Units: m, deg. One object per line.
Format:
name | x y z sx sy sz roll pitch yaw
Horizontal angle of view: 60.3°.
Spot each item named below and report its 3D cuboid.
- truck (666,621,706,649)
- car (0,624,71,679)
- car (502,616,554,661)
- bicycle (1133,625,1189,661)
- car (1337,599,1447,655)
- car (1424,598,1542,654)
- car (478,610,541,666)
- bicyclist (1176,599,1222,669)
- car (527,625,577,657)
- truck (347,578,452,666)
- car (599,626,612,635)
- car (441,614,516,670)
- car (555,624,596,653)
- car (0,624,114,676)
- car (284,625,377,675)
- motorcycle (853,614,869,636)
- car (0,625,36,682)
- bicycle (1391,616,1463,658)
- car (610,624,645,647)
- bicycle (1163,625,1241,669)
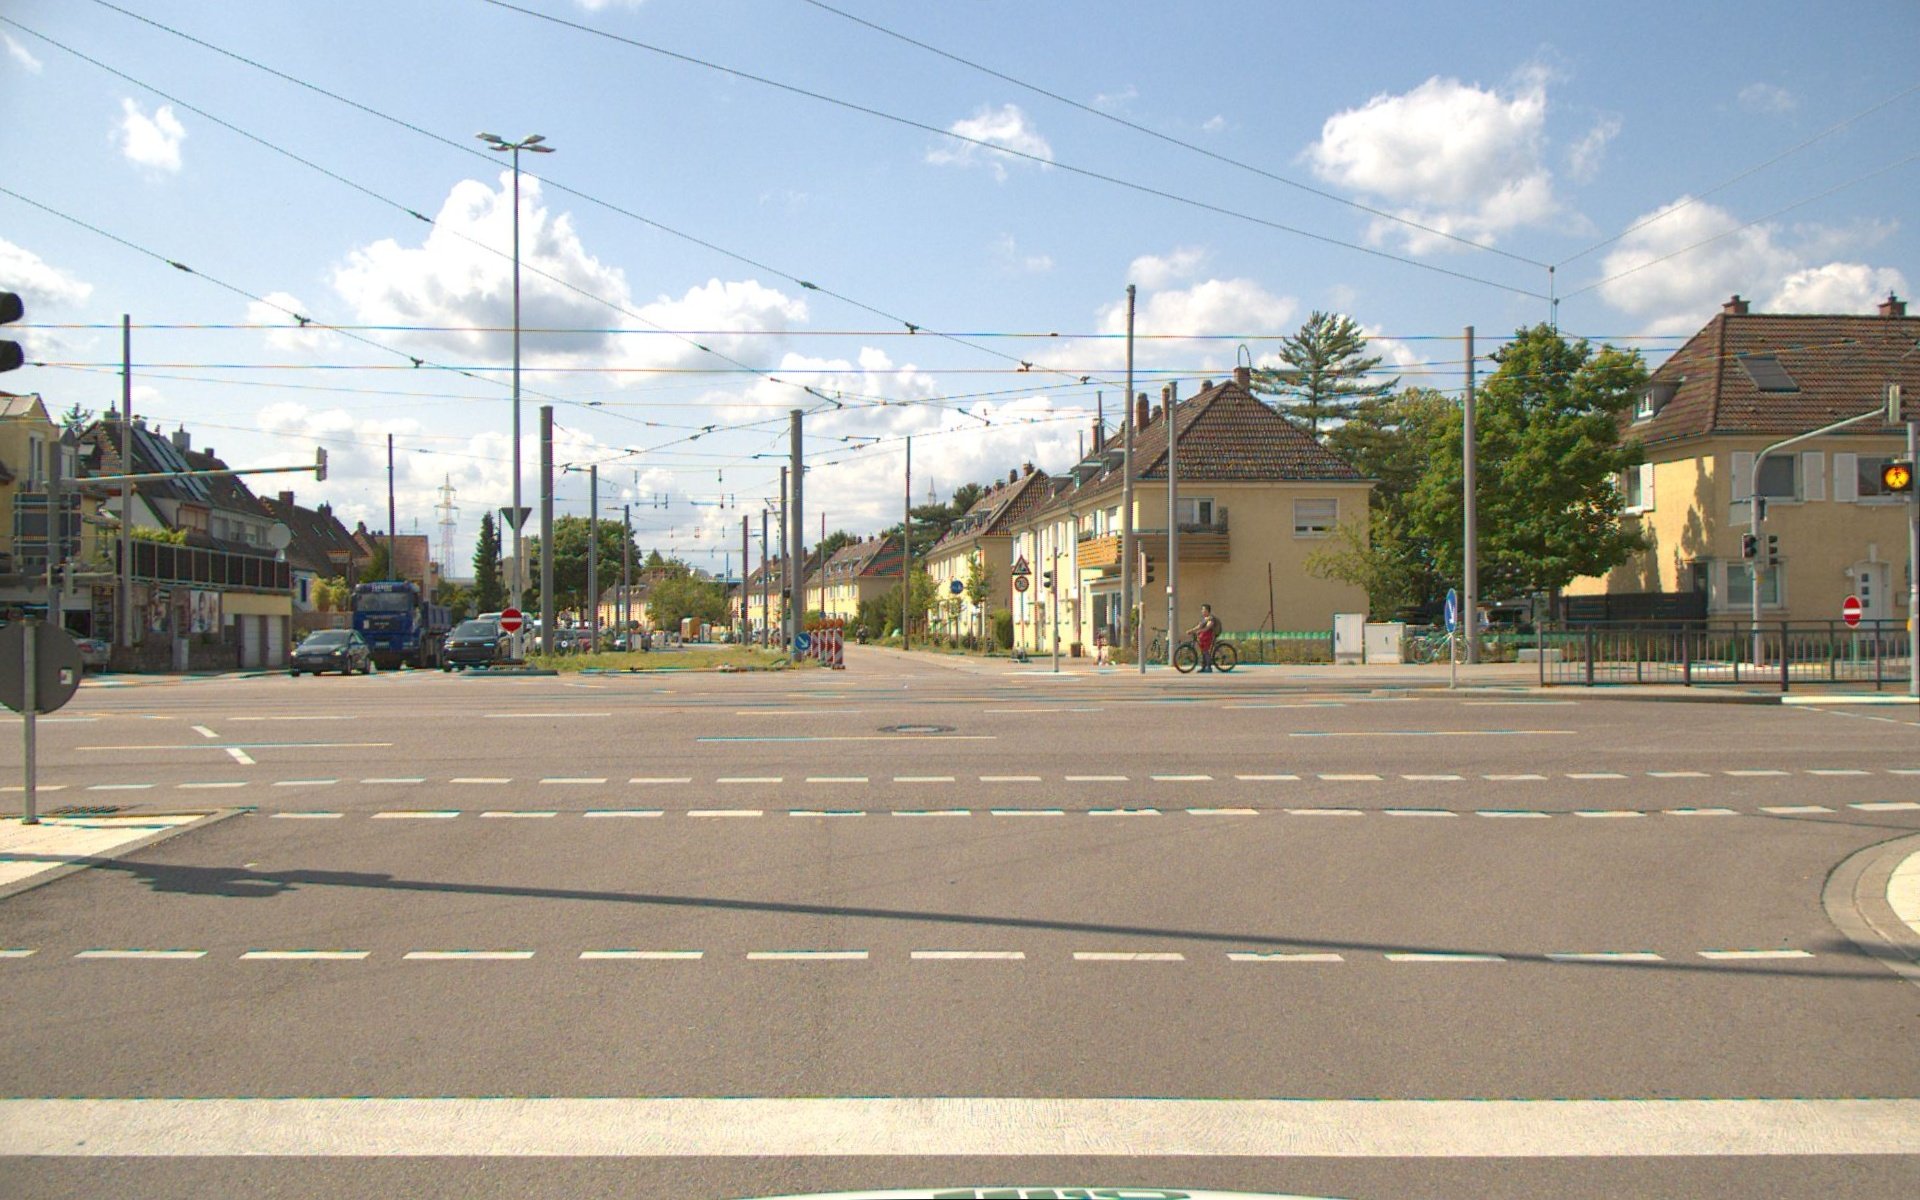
truck | -35.248 4.495 212.508 2.607 3.555 9.362 0 -1 -25
car | -28.026 1.445 47.519 4.059 1.519 1.503 1 -1 -10
car | -18.077 1.595 69.379 1.701 1.813 4.394 -1 -1 -10
bicycle | 6.254 1.342 51.595 0.586 1.116 2.257 0 -1 -27
car | 13.508 0.882 51.922 1.789 1.649 3.988 -1 -2 -11
car | 16.274 0.846 51.645 1.789 1.649 3.988 -1 -2 -11
car | -16.731 1.406 61.551 1.781 1.955 4.737 -1 -1 -10
bicyclist | 6.319 0.899 43.700 0.946 1.806 0.713 0 -1 -27
car | -18.788 1.880 76.302 1.880 1.444 3.991 -1 -1 -9
truck | -21.926 0.892 65.102 2.718 3.244 7.564 -1 -1 -10
car | -54.526 4.734 254.624 1.243 1.374 2.640 0 -1 -28
car | -16.013 1.370 55.157 1.753 1.751 4.433 -1 0 -8
car | -21.210 2.127 91.407 1.809 1.520 4.847 -1 -1 -8
car | -28.140 1.504 50.227 4.059 1.519 1.431 1 -1 -10
car | -20.309 1.606 53.540 1.793 1.513 4.327 -1 -1 -7
motorcycle | -7.682 1.927 128.136 1.047 1.664 2.079 -1 -1 -9
car | -27.505 1.427 44.859 4.059 1.519 1.176 1 -1 -10
bicycle | 12.733 1.008 45.114 1.773 1.124 0.699 -1 -1 38
car | -24.531 2.599 122.049 1.782 1.579 3.999 -1 0 0
bicycle | 6.410 1.244 43.750 2.002 1.121 0.709 0 -1 -27
